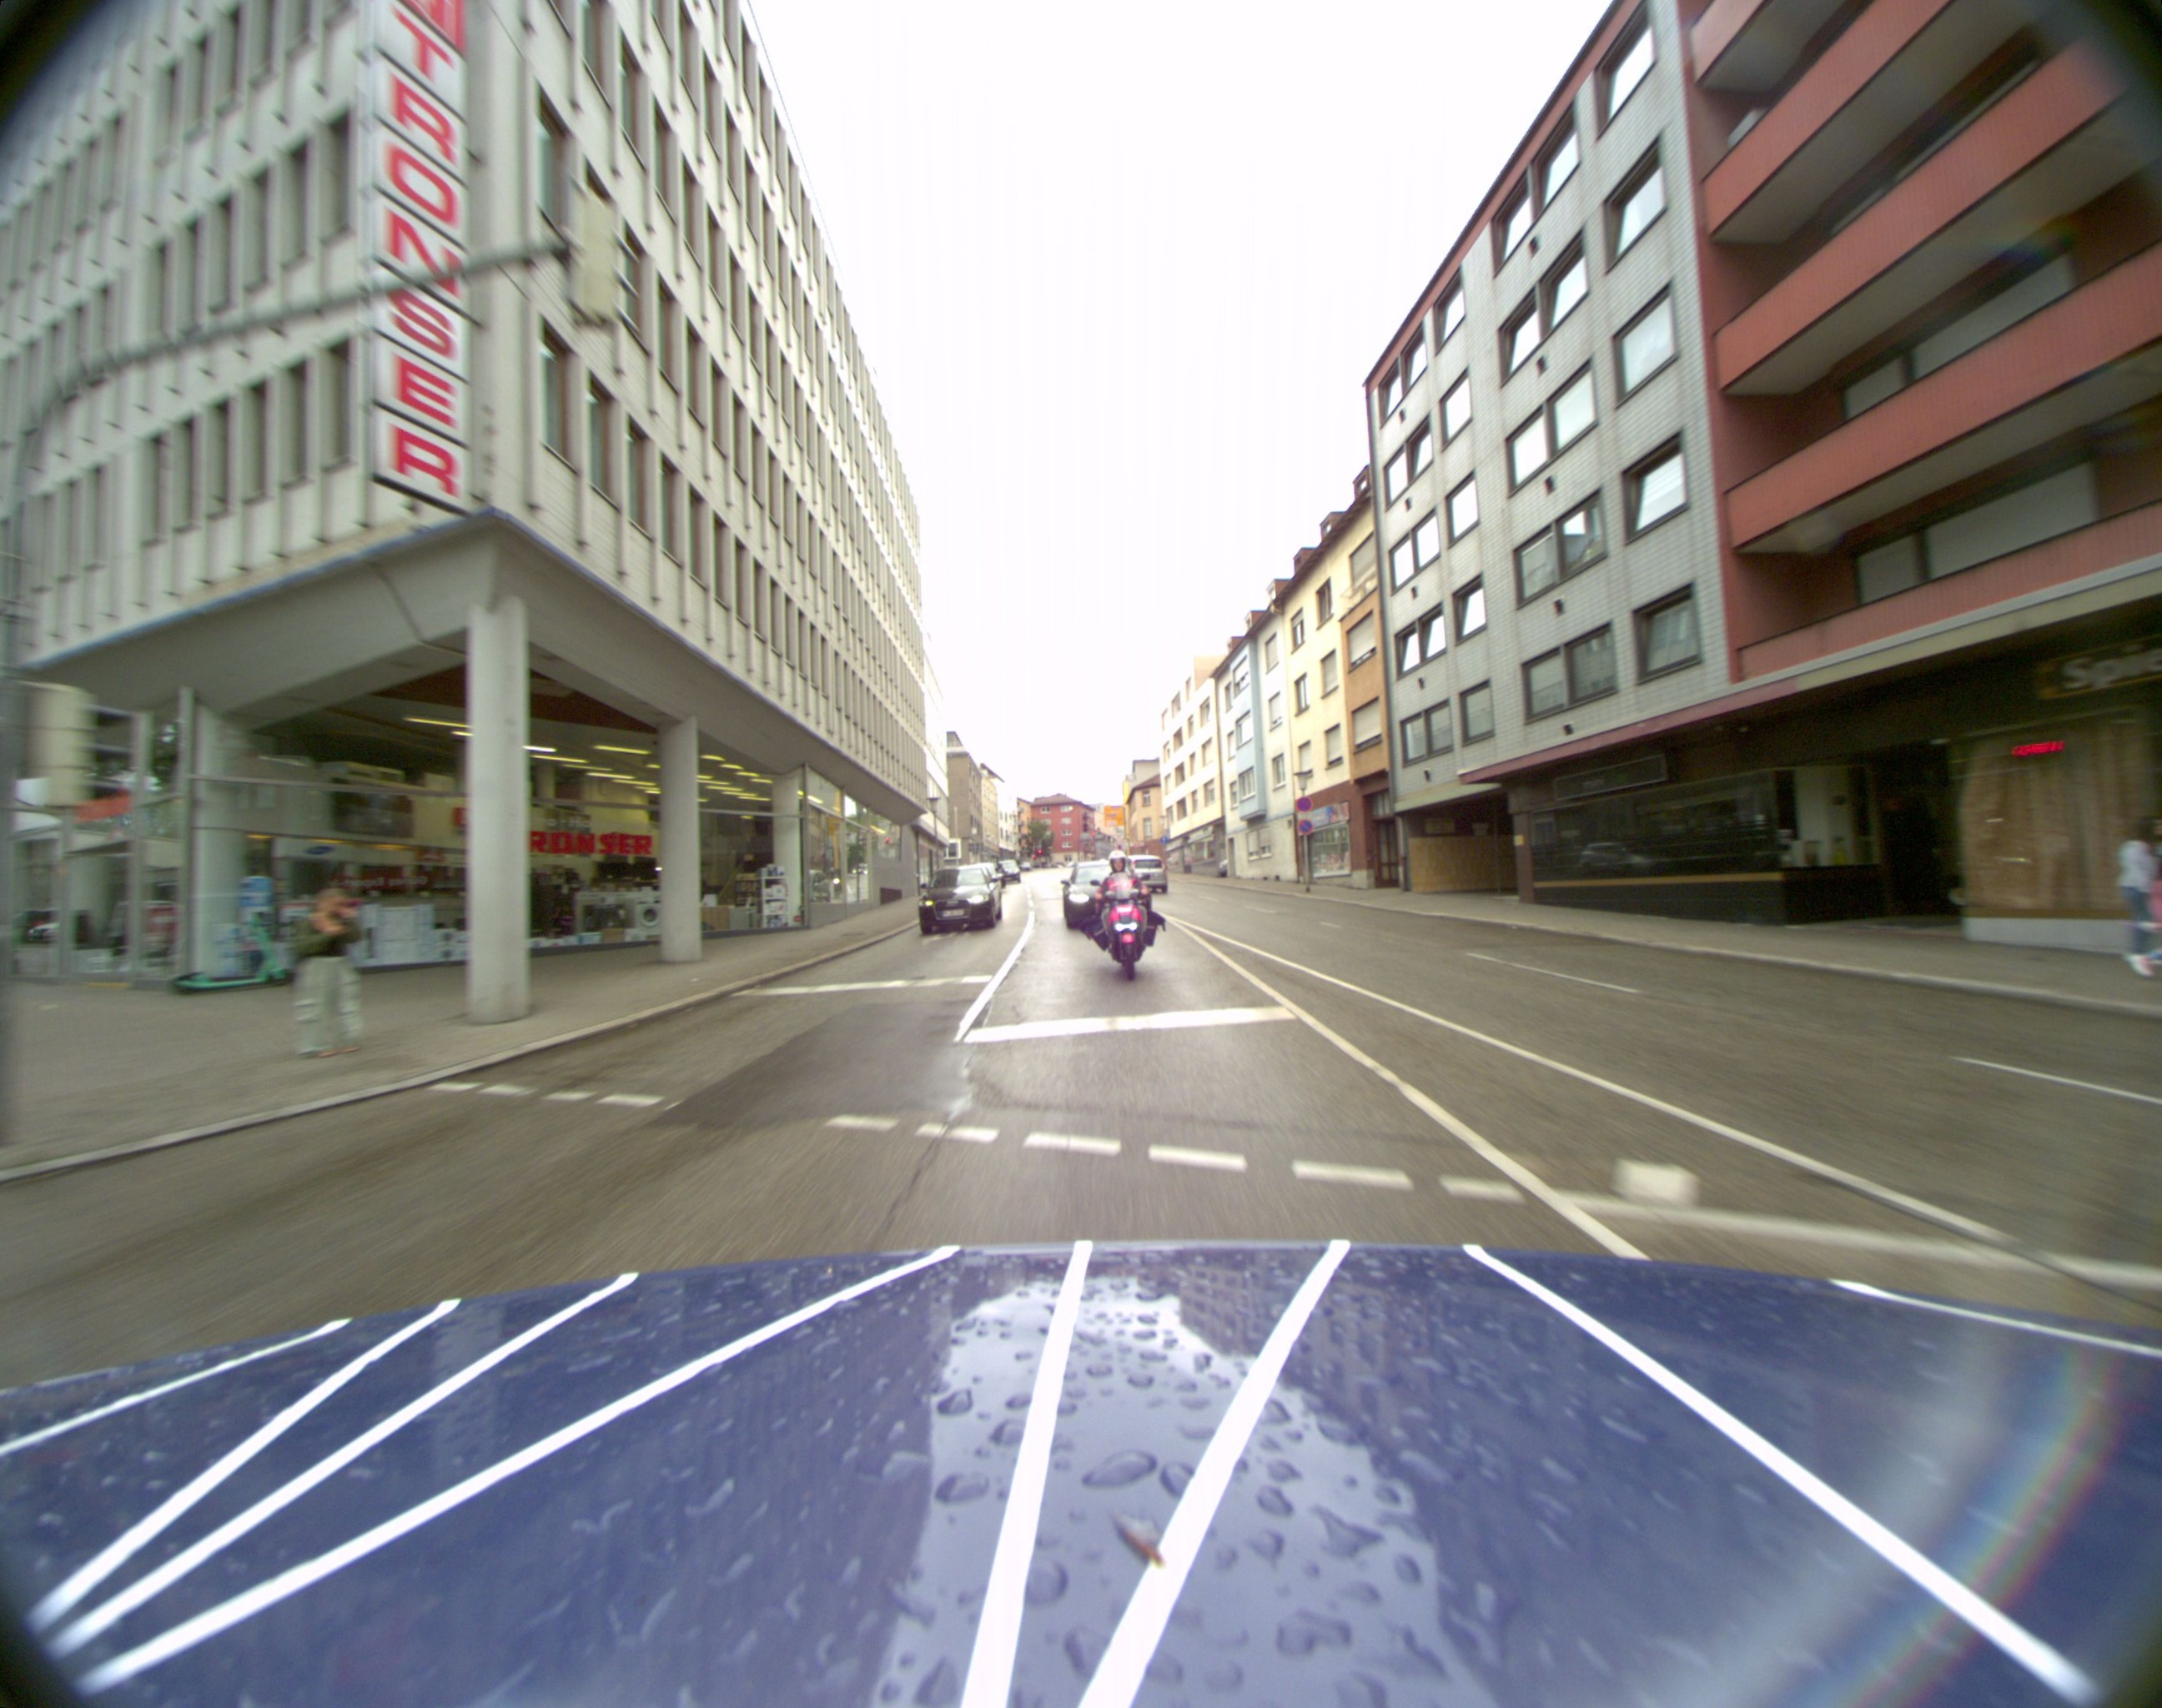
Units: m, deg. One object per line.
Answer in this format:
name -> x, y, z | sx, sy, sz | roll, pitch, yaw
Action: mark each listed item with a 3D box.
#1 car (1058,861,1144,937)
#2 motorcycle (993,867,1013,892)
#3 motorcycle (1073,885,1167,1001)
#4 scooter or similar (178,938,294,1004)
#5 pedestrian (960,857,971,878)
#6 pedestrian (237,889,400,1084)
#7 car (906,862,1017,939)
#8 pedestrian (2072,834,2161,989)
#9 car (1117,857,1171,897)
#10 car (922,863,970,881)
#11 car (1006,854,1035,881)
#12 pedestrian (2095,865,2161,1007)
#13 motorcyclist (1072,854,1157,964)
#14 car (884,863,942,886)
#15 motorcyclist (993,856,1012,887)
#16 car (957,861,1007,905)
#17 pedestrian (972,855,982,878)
car -> 0.369, 0.964, 18.179 | 1.706, 1.451, 4.318 | -5, 0, -2
motorcycle -> -4.200, 1.331, 40.943 | 0.847, 1.218, 2.371 | -5, 0, -9
motorcycle -> 0.448, 1.113, 10.422 | 1.010, 1.219, 2.693 | -3, 0, -2
scooter or similar -> -12.672, 1.742, 11.415 | 0.307, 0.819, 1.128 | -2, 0, 38
pedestrian -> -8.767, 1.020, 57.686 | 0.768, 1.542, 0.890 | 0, 0, -7
pedestrian -> -7.241, 1.200, 7.249 | 0.722, 1.680, 0.831 | 0, 1, 18
car -> -2.958, 1.114, 19.795 | 1.827, 1.551, 4.202 | -5, 1, 4
pedestrian -> 11.408, 0.586, 8.084 | 0.830, 1.552, 0.723 | -5, 1, -12
car -> 2.694, 0.954, 33.397 | 1.740, 1.583, 4.173 | 0, 0, -4
car -> -14.112, 1.864, 79.542 | 4.532, 1.495, 2.000 | -4, 0, 0
car -> -4.504, 0.980, 55.975 | 1.849, 1.892, 3.763 | -3, 0, -7
pedestrian -> 10.532, 0.786, 7.315 | 0.535, 1.315, 0.723 | -5, 1, -12
motorcyclist -> 0.434, 0.709, 10.282 | 1.010, 1.373, 0.834 | -3, 1, -2
car -> -12.743, 1.514, 57.556 | 4.003, 1.521, 1.760 | -2, 0, -20
motorcyclist -> -4.236, 0.947, 40.940 | 0.847, 1.580, 0.962 | -5, 1, -9
car -> -4.178, 1.171, 32.236 | 1.832, 1.532, 4.250 | -6, 0, -7
pedestrian -> -8.050, 0.962, 58.831 | 0.786, 1.695, 1.120 | 1, 0, -7
